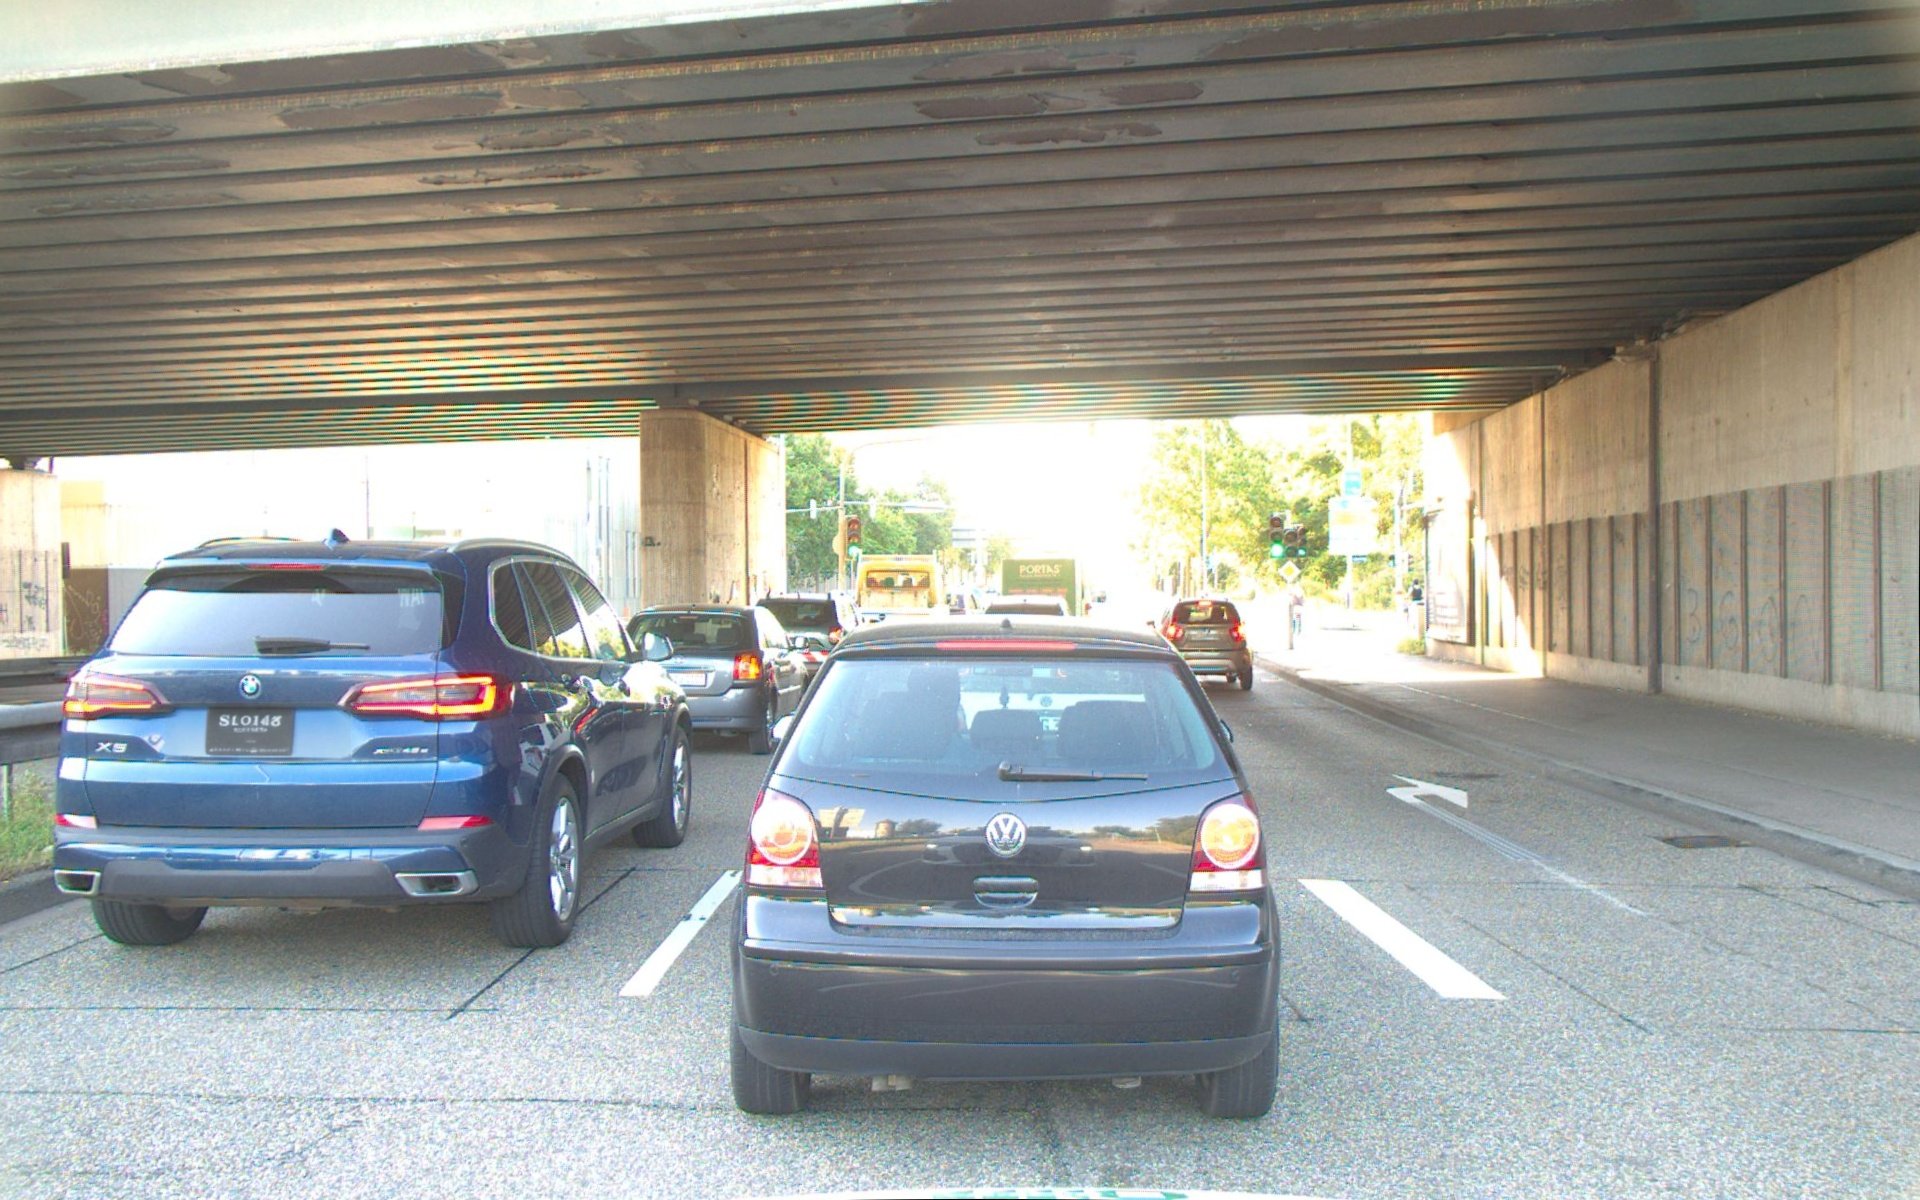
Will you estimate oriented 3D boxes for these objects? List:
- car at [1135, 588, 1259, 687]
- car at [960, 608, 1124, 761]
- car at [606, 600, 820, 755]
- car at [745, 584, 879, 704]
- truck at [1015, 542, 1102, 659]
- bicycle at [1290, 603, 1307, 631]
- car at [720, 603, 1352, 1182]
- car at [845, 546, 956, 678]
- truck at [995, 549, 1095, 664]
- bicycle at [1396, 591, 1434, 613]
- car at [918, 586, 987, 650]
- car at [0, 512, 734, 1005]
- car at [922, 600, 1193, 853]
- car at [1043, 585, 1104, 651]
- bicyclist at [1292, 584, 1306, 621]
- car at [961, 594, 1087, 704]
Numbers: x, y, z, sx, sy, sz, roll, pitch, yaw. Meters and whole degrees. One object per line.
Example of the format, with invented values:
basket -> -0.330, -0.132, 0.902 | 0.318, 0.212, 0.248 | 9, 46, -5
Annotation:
car -> 4.263, 0.649, 30.243 | 1.701, 1.659, 4.062 | 1, 0, 1
car -> 0.807, 0.818, 17.824 | 1.546, 1.438, 4.062 | 1, 0, 1
car -> -2.494, 0.739, 17.498 | 1.583, 1.434, 3.684 | 1, 0, 2
car -> -2.225, 0.643, 25.683 | 1.583, 1.709, 3.684 | 1, 0, 2
truck -> 2.491, 0.021, 41.014 | 1.954, 2.715, 4.003 | 1, 0, 6
bicycle -> 11.407, 0.560, 55.700 | 0.428, 0.930, 1.027 | -2, -1, 6
car -> 0.255, 0.747, 6.041 | 1.583, 1.434, 3.684 | 1, 0, 2
car -> -1.208, 0.245, 35.810 | 2.092, 2.621, 5.087 | 1, 0, 1
truck -> 1.930, 0.147, 36.369 | 1.954, 2.356, 4.003 | 1, 0, 6
bicycle -> 21.313, 0.090, 77.482 | 1.628, 1.008, 0.578 | -1, 3, 23
car -> -0.168, 0.489, 46.622 | 1.582, 1.709, 3.685 | 1, 0, 5
car -> -2.516, 0.583, 8.316 | 1.952, 1.764, 4.534 | 1, 0, 2
car -> 0.585, 0.744, 11.612 | 1.546, 1.438, 4.062 | 1, 0, 1
car -> 3.150, 0.481, 45.488 | 1.582, 1.709, 3.685 | 1, 0, 5
bicyclist -> 11.414, 0.089, 55.693 | 0.418, 1.254, 0.460 | -1, -1, 6
car -> 1.098, 0.736, 26.533 | 1.758, 1.586, 4.003 | 1, 0, 6
